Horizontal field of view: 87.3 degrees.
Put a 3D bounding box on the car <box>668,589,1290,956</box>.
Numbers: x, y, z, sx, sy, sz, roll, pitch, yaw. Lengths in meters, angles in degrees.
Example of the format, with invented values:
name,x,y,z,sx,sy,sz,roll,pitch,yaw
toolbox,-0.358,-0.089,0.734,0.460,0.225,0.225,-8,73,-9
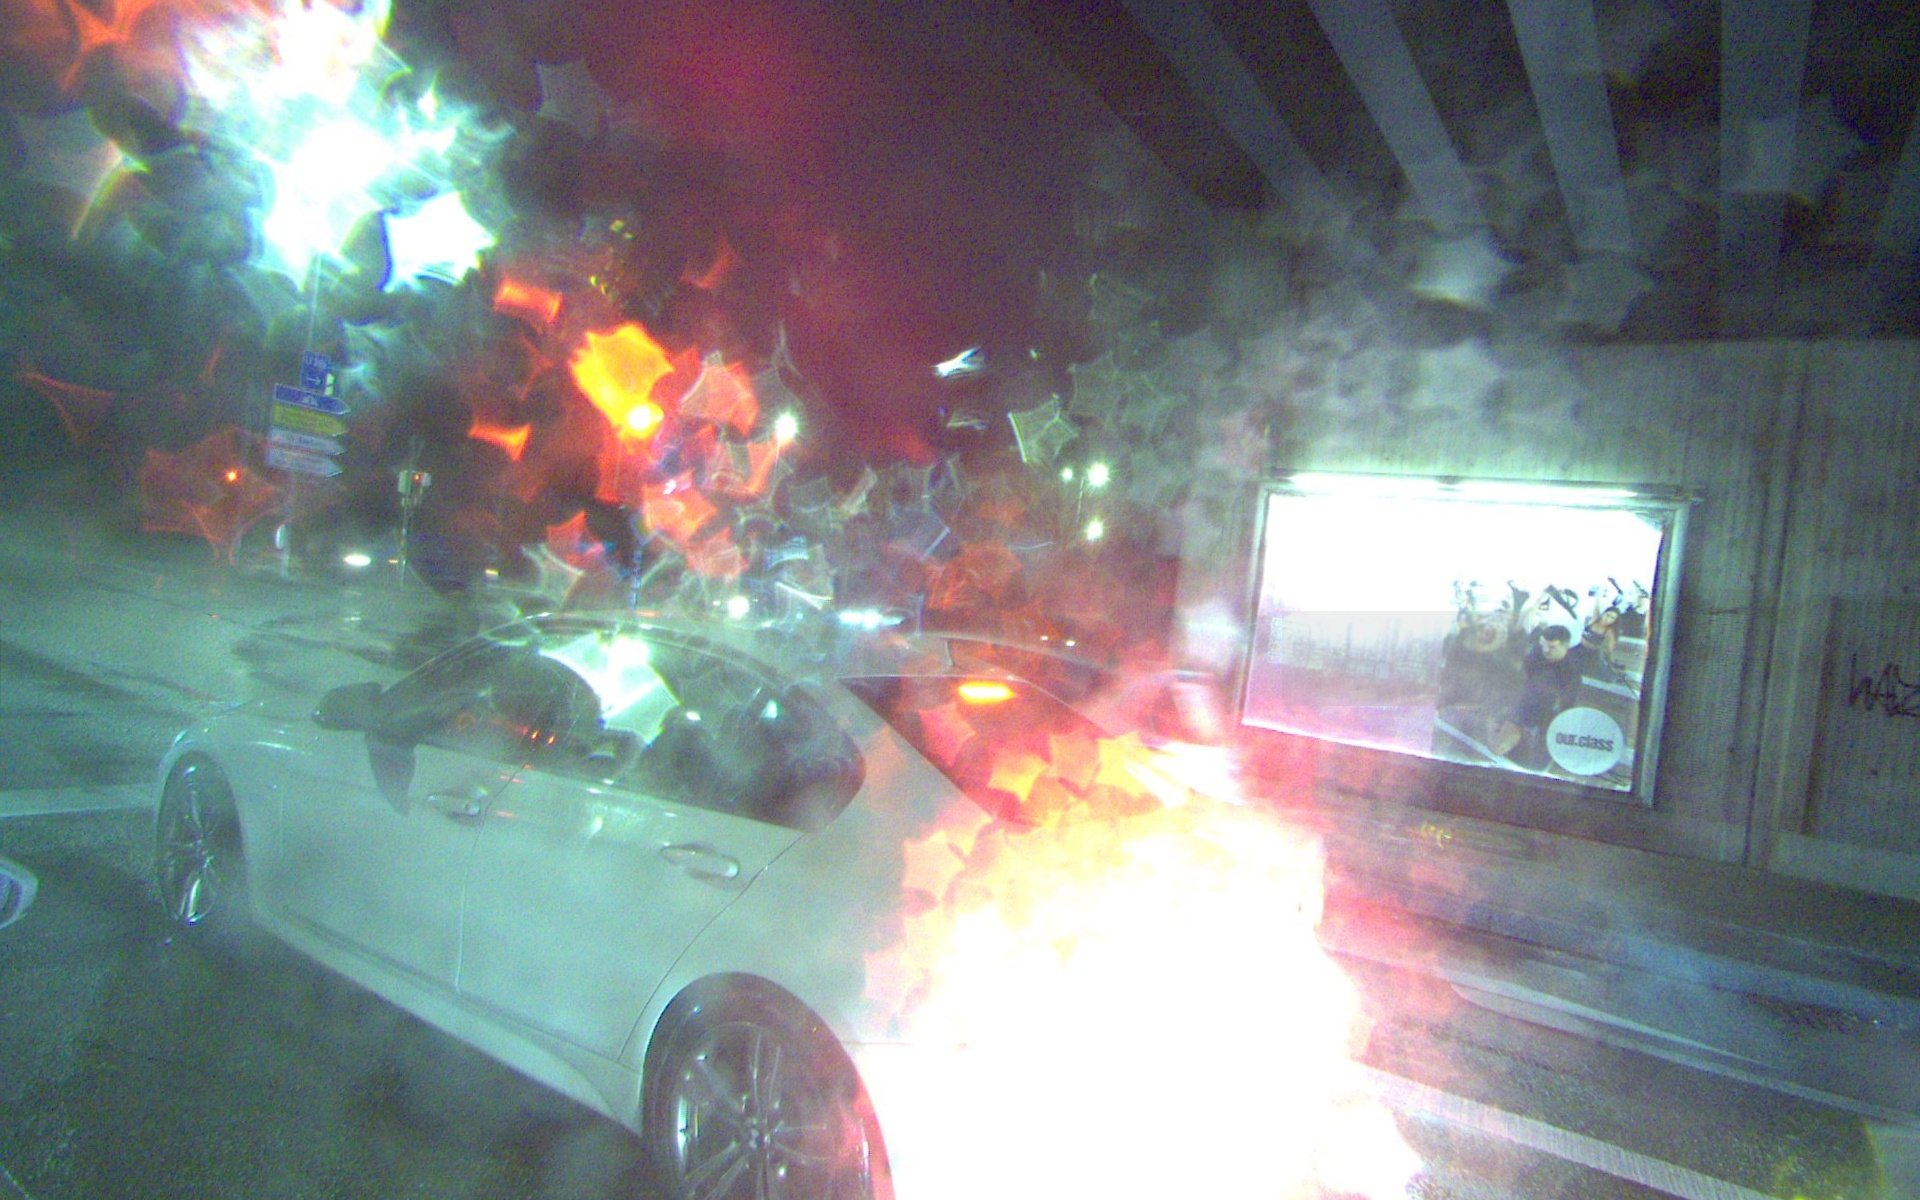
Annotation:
name,x,y,z,sx,sy,sz,roll,pitch,yaw
car,0.063,0.902,6.478,3.533,1.476,1.637,6,-2,31

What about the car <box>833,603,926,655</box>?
name,x,y,z,sx,sy,sz,roll,pitch,yaw
car,-4.166,1.580,53.201,2.108,2.169,4.919,6,-2,34

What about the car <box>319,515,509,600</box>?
name,x,y,z,sx,sy,sz,roll,pitch,yaw
car,-16.105,-1.213,29.894,1.831,1.769,4.496,6,-2,36

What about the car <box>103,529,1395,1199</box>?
name,x,y,z,sx,sy,sz,roll,pitch,yaw
car,-0.980,0.711,3.501,4.277,1.420,1.720,6,-2,32

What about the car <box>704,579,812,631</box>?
name,x,y,z,sx,sy,sz,roll,pitch,yaw
car,-8.295,0.249,41.628,1.884,1.604,4.074,2,-6,36
